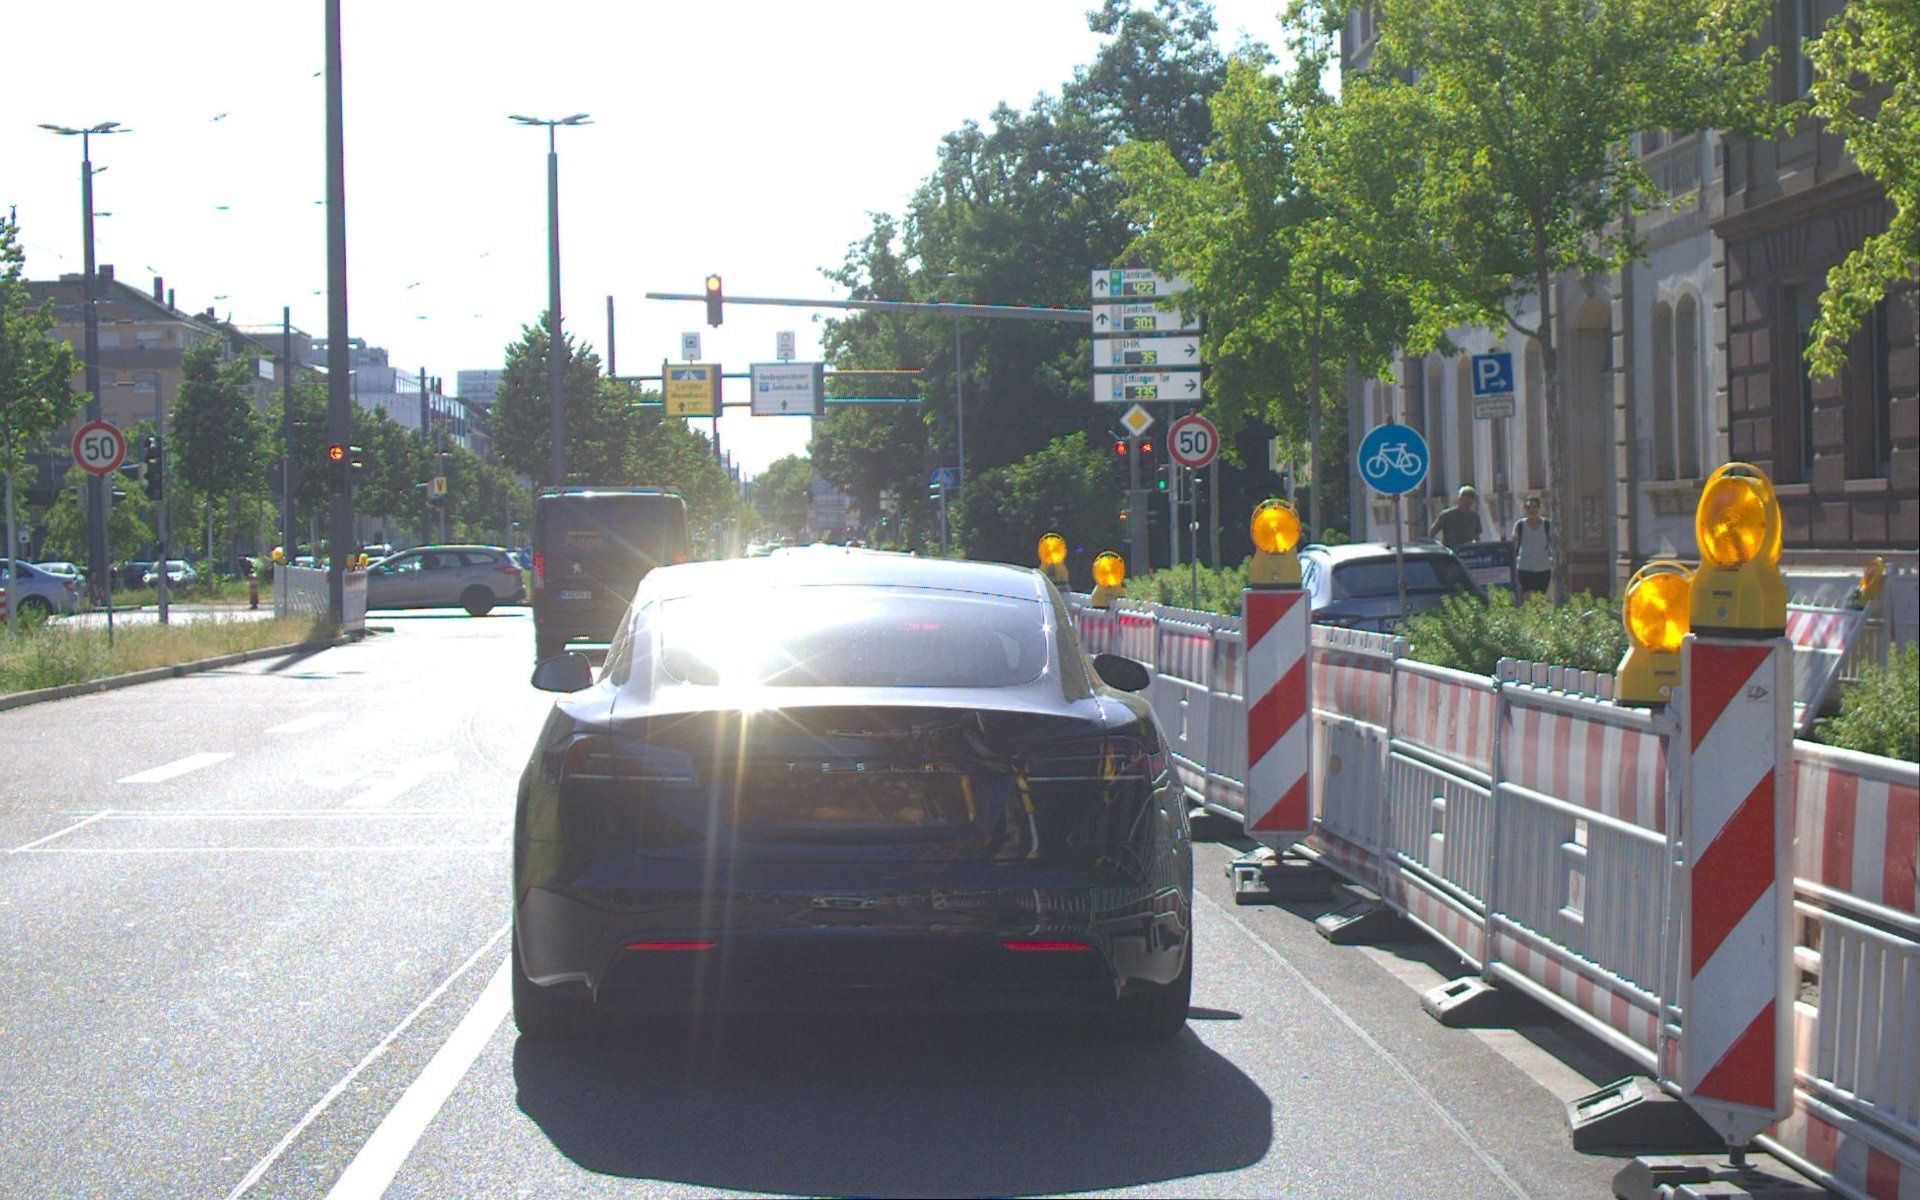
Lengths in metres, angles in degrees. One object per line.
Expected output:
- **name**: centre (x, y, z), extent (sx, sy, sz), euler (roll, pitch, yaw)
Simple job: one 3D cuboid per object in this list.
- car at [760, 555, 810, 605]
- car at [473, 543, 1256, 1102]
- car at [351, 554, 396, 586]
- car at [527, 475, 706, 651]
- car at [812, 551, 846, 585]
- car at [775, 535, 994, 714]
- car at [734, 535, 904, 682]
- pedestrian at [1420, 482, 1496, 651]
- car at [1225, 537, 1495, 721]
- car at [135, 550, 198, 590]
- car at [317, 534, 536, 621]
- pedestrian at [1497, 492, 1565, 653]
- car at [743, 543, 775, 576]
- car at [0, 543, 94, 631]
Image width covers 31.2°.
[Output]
- **car**: centre (-6.637, -0.768, 130.001), extent (1.791, 1.867, 3.850), euler (1, 1, -4)
- **car**: centre (-0.346, 0.557, 11.371), extent (2.051, 1.439, 4.525), euler (1, 1, -2)
- **car**: centre (-31.398, -1.631, 184.125), extent (1.808, 1.645, 4.000), euler (-1, 1, -2)
- **car**: centre (-4.635, -0.532, 47.000), extent (2.218, 2.259, 4.485), euler (1, 1, -3)
- **car**: centre (-7.383, -1.800, 193.691), extent (1.791, 1.867, 3.850), euler (1, 1, -4)
- **car**: centre (-0.709, 0.149, 29.911), extent (1.747, 1.422, 4.839), euler (0, 1, -2)
- **car**: centre (-1.524, 0.051, 37.877), extent (1.749, 1.522, 4.005), euler (1, 1, -2)
- **pedestrian**: centre (5.747, -0.387, 39.673), extent (0.658, 1.906, 0.587), euler (-3, 1, -2)
- **car**: centre (3.567, 0.205, 31.444), extent (1.647, 1.470, 4.701), euler (-3, 1, -2)
- **car**: centre (-32.879, -1.257, 142.561), extent (1.790, 1.645, 4.000), euler (-1, 1, -2)
- **car**: centre (-11.348, -0.494, 73.400), extent (4.511, 1.786, 2.000), euler (-1, 1, -6)
- **pedestrian**: centre (6.589, -0.317, 39.676), extent (0.563, 1.814, 0.587), euler (-3, 1, -2)
- **car**: centre (-11.526, -2.318, 197.133), extent (1.791, 1.867, 3.850), euler (1, 1, -4)
- **car**: centre (-20.407, -0.257, 71.069), extent (4.511, 1.786, 2.000), euler (-1, 1, -26)
